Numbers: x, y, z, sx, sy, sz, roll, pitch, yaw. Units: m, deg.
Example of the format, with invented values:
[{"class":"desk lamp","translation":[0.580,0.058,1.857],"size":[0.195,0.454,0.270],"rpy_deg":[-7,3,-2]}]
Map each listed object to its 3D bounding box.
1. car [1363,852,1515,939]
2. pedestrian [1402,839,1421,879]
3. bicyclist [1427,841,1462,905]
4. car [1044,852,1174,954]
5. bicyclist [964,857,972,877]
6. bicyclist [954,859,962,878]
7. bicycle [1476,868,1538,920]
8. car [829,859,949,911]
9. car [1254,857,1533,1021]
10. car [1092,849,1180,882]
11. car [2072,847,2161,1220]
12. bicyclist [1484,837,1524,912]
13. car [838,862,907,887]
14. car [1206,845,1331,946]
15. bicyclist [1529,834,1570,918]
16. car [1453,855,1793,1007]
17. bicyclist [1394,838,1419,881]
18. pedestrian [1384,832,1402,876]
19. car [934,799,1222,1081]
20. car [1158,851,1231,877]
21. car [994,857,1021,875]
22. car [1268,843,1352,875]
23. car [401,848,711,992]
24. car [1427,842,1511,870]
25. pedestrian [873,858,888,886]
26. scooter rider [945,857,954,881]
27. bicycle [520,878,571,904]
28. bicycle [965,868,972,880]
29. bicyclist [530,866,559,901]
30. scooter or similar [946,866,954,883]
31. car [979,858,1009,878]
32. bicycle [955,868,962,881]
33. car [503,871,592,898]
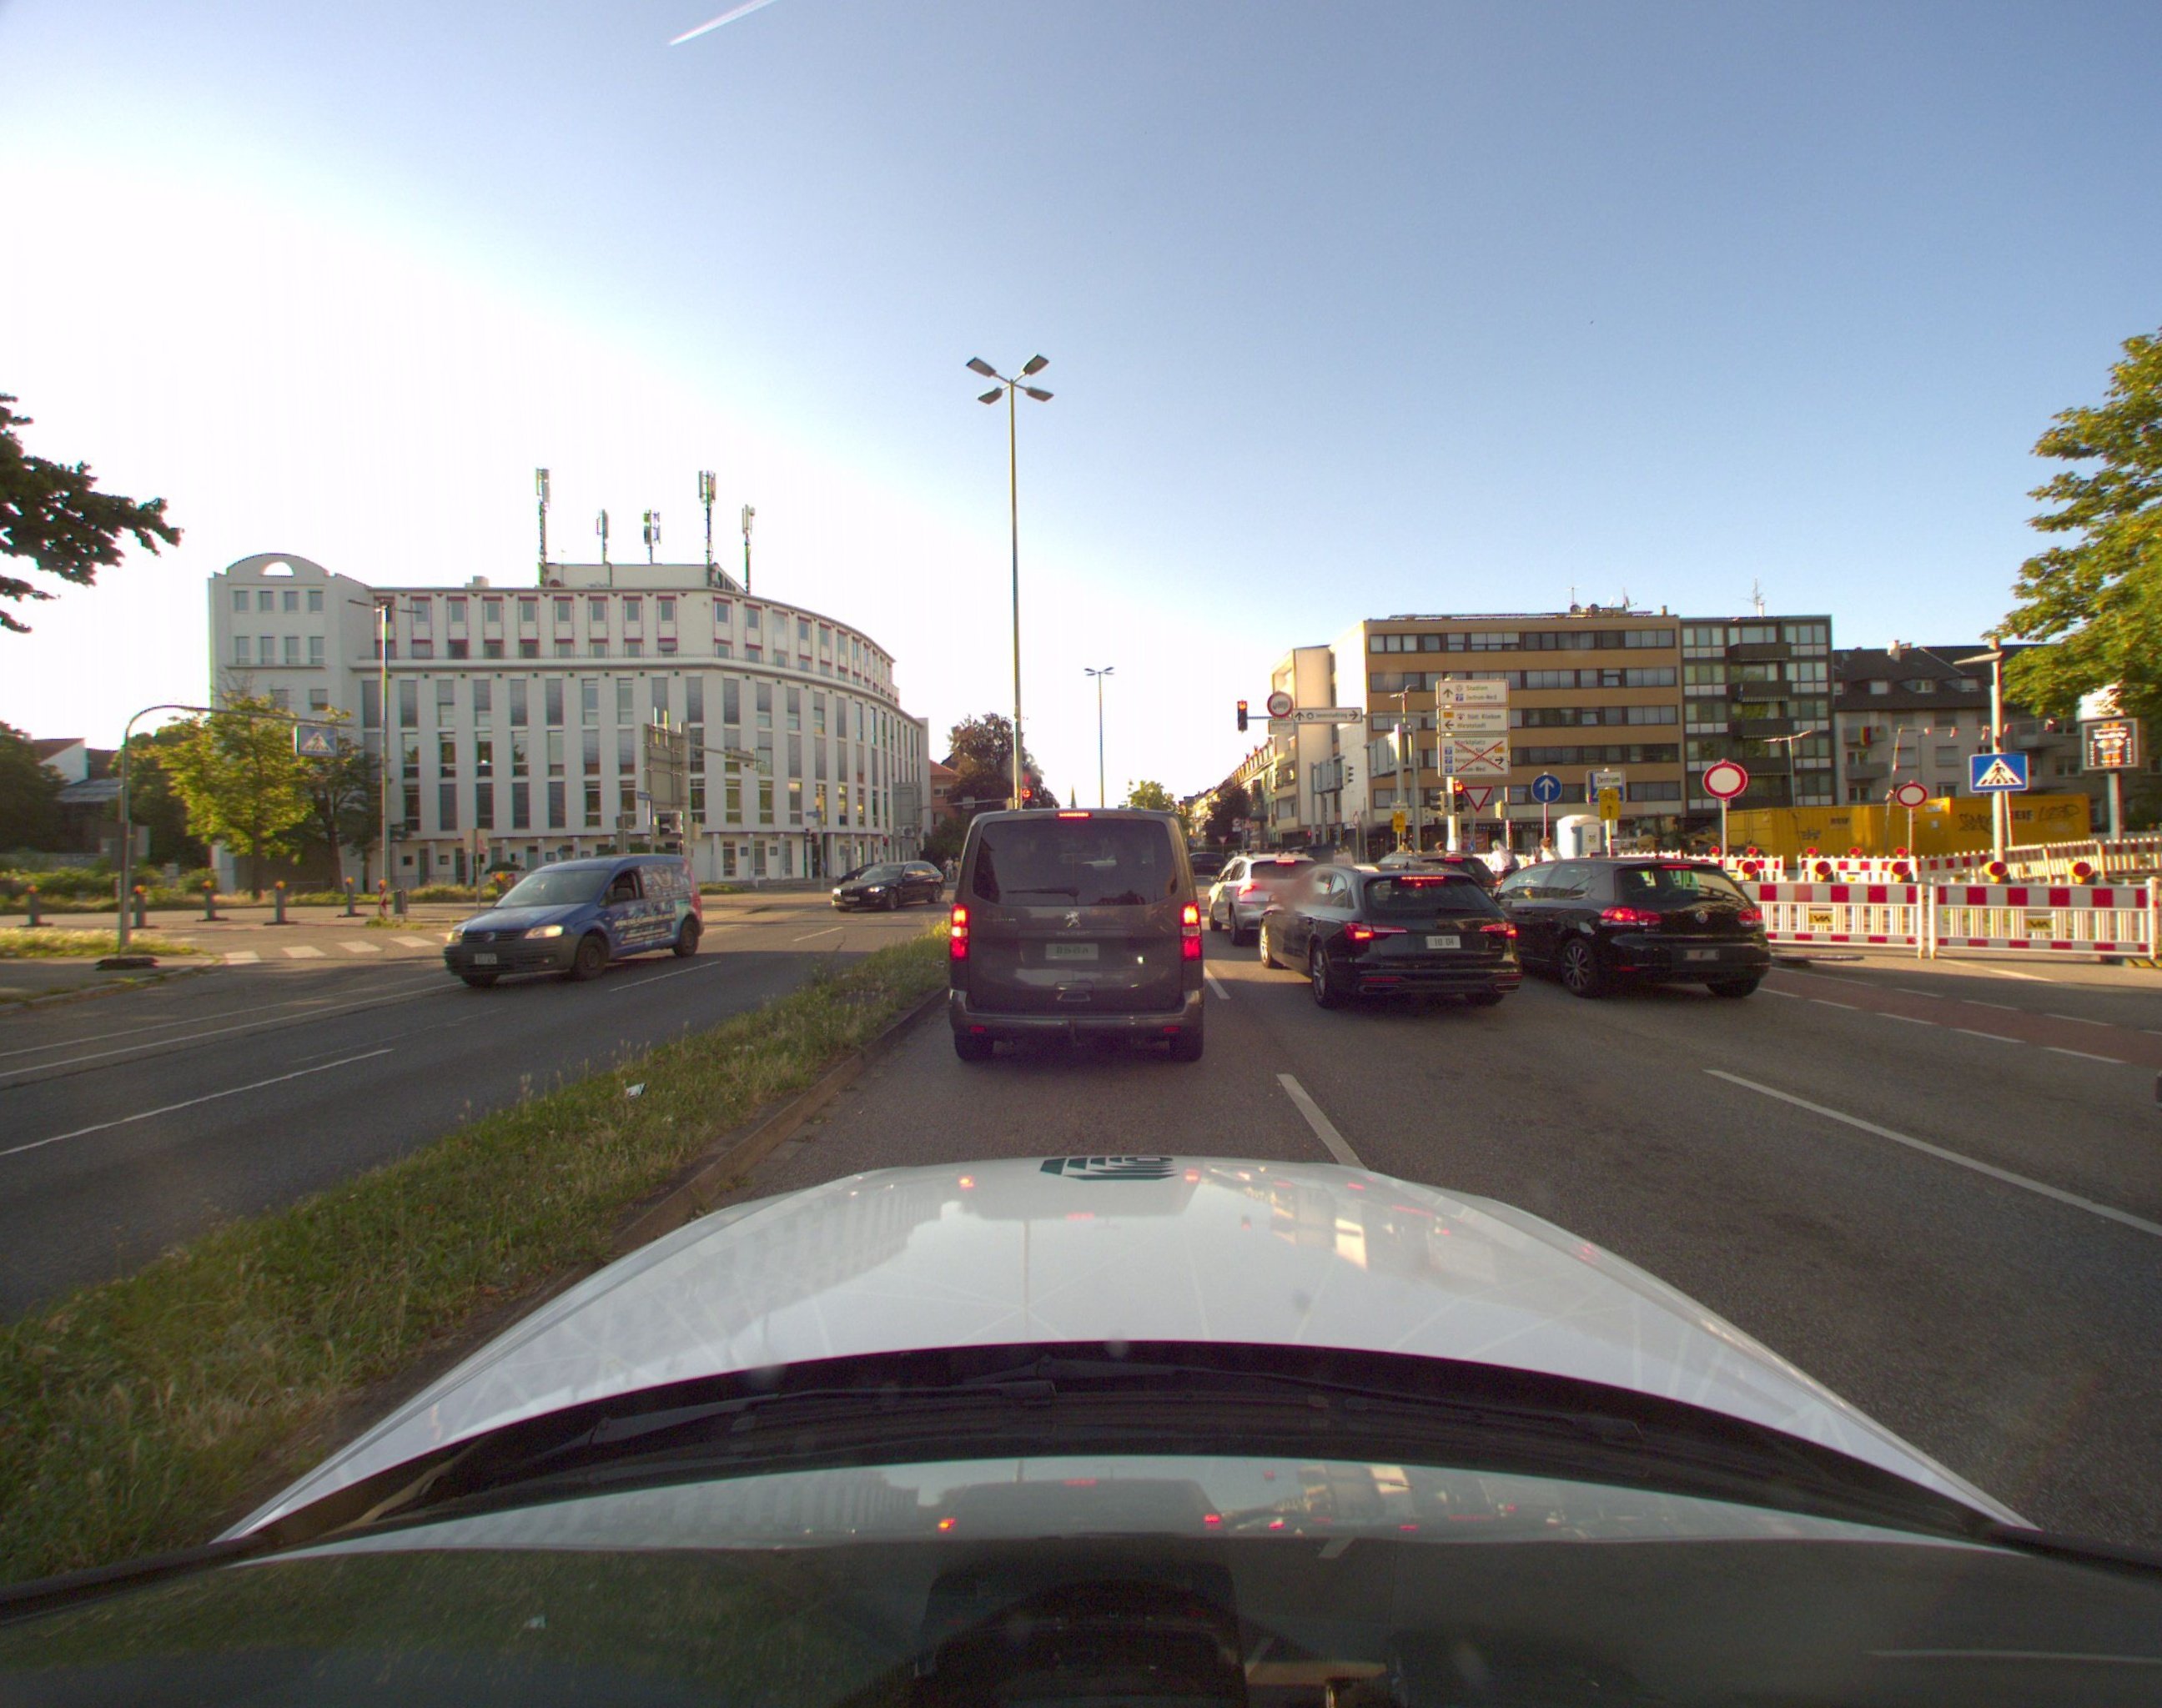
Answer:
[{"class":"car","translation":[6.567,0.692,15.289],"size":[1.499,1.449,3.306],"rpy_deg":[0,0,2]},{"class":"pedestrian","translation":[14.008,0.201,34.514],"size":[0.599,1.671,0.455],"rpy_deg":[-2,0,3]},{"class":"bicyclist","translation":[8.976,0.456,20.122],"size":[0.511,1.525,0.725],"rpy_deg":[-2,0,1]},{"class":"car","translation":[0.502,0.765,14.735],"size":[1.986,1.530,4.002],"rpy_deg":[-2,0,2]},{"class":"bicyclist","translation":[-8.958,1.012,64.623],"size":[0.475,1.555,0.510],"rpy_deg":[-2,0,1]},{"class":"bicyclist","translation":[-9.735,1.136,64.564],"size":[0.461,1.522,0.469],"rpy_deg":[-2,0,1]},{"class":"bicycle","translation":[8.911,0.807,17.102],"size":[0.335,1.008,1.856],"rpy_deg":[-2,0,2]},{"class":"car","translation":[-6.055,0.949,26.198],"size":[1.683,1.441,4.263],"rpy_deg":[-2,0,19]},{"class":"car","translation":[3.201,0.757,9.283],"size":[1.675,1.421,4.215],"rpy_deg":[0,0,2]},{"class":"car","translation":[2.687,0.541,39.443],"size":[4.015,1.418,1.664],"rpy_deg":[-2,0,-33]},{"class":"car","translation":[5.120,0.687,1.125],"size":[1.809,1.449,4.665],"rpy_deg":[-1,0,-1]},{"class":"bicyclist","translation":[8.910,0.422,17.186],"size":[0.439,1.525,0.725],"rpy_deg":[-2,0,2]},{"class":"car","translation":[-11.998,1.160,47.107],"size":[3.602,1.296,1.832],"rpy_deg":[-2,0,-7]},{"class":"car","translation":[3.294,0.673,14.911],"size":[1.523,1.613,3.746],"rpy_deg":[0,0,2]},{"class":"bicyclist","translation":[8.642,0.398,15.033],"size":[0.439,1.525,0.482],"rpy_deg":[-2,0,1]},{"class":"car","translation":[6.019,0.736,9.638],"size":[1.627,1.449,3.746],"rpy_deg":[0,0,2]},{"class":"bicyclist","translation":[12.444,0.203,31.143],"size":[0.616,1.589,0.814],"rpy_deg":[0,0,-2]},{"class":"pedestrian","translation":[13.181,-0.007,34.424],"size":[0.567,1.834,0.488],"rpy_deg":[-2,0,4]},{"class":"car","translation":[0.050,0.572,7.649],"size":[1.900,1.863,4.528],"rpy_deg":[0,0,2]},{"class":"car","translation":[6.429,0.572,46.346],"size":[3.810,1.354,1.724],"rpy_deg":[-2,0,-5]},{"class":"car","translation":[-6.151,0.988,68.416],"size":[1.850,1.420,4.000],"rpy_deg":[-2,0,0]},{"class":"car","translation":[12.094,0.267,43.036],"size":[3.999,1.516,1.671],"rpy_deg":[-2,0,-19]},{"class":"car","translation":[-7.824,0.860,12.757],"size":[1.986,1.817,4.230],"rpy_deg":[-2,0,1]},{"class":"car","translation":[21.376,0.097,44.922],"size":[3.990,1.418,1.675],"rpy_deg":[-2,0,-12]},{"class":"pedestrian","translation":[-12.711,1.155,51.622],"size":[0.630,1.722,0.664],"rpy_deg":[-1,0,-35]},{"class":"scooter rider","translation":[-9.472,1.105,58.647],"size":[0.479,1.697,0.636],"rpy_deg":[-2,0,1]},{"class":"bicycle","translation":[-23.288,1.602,35.422],"size":[1.795,1.042,0.502],"rpy_deg":[-2,0,-5]},{"class":"bicycle","translation":[-8.932,1.592,64.650],"size":[0.275,0.949,1.073],"rpy_deg":[-2,0,2]},{"class":"bicyclist","translation":[-23.320,1.267,35.414],"size":[0.884,1.496,0.457],"rpy_deg":[-2,0,-5]},{"class":"scooter or similar","translation":[-9.464,1.459,58.796],"size":[0.284,1.189,1.169],"rpy_deg":[-2,0,2]},{"class":"car","translation":[-6.667,1.037,62.751],"size":[1.850,1.420,4.000],"rpy_deg":[-2,0,0]},{"class":"bicycle","translation":[-9.705,1.616,64.549],"size":[0.289,0.949,1.073],"rpy_deg":[-2,0,2]},{"class":"car","translation":[-29.688,1.688,45.365],"size":[3.775,1.372,1.648],"rpy_deg":[-2,0,-4]}]
